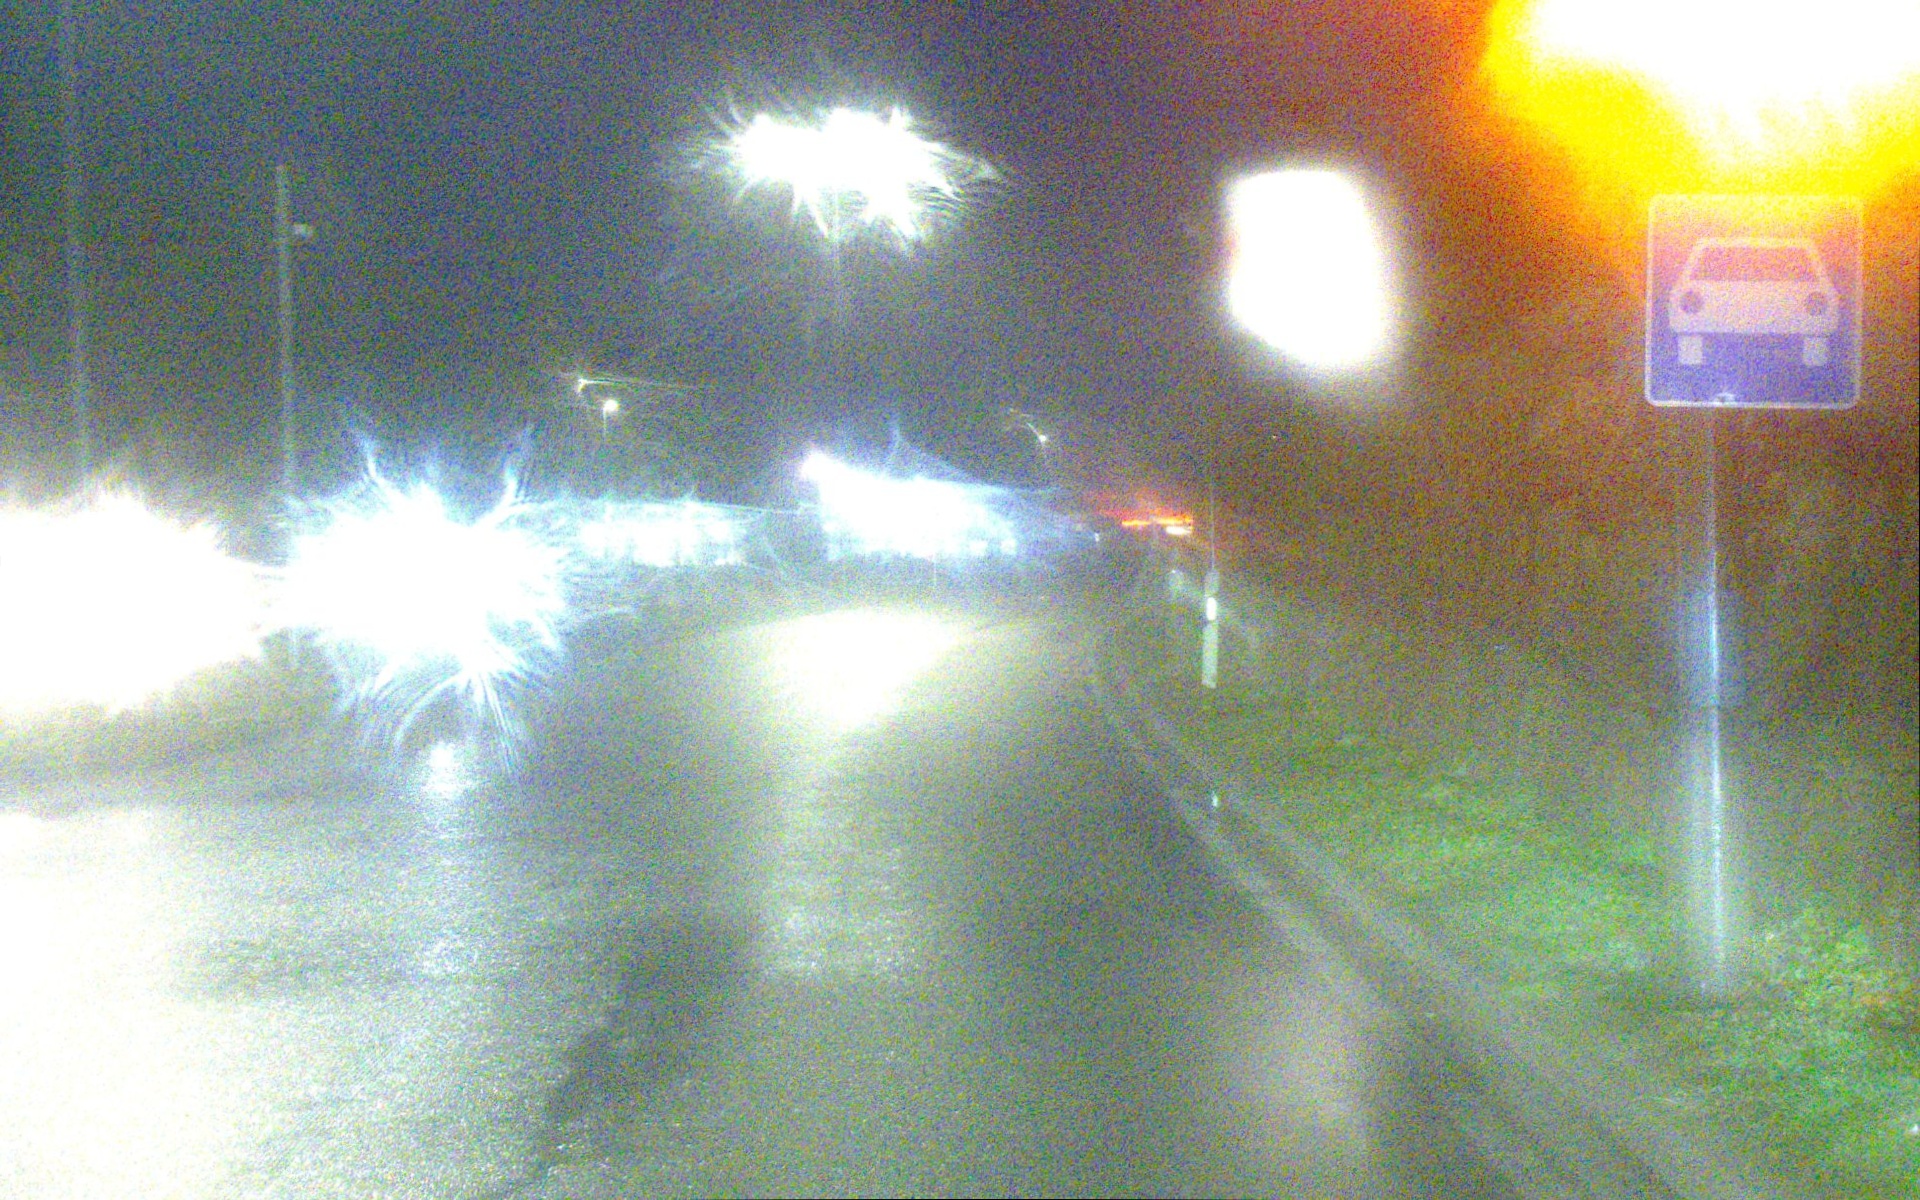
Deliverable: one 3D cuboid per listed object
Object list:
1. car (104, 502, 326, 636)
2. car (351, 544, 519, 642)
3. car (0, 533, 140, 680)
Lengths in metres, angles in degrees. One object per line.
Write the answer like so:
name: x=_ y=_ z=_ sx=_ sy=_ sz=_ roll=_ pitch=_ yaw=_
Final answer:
car: x=-9.773 y=-0.401 z=45.413 sx=1.718 sy=1.697 sz=4.142 roll=0 pitch=0 yaw=5
car: x=-8.530 y=-0.114 z=56.259 sx=1.708 sy=1.529 sz=4.599 roll=0 pitch=0 yaw=5
car: x=-10.272 y=0.065 z=37.484 sx=1.585 sy=1.520 sz=3.651 roll=0 pitch=0 yaw=4
